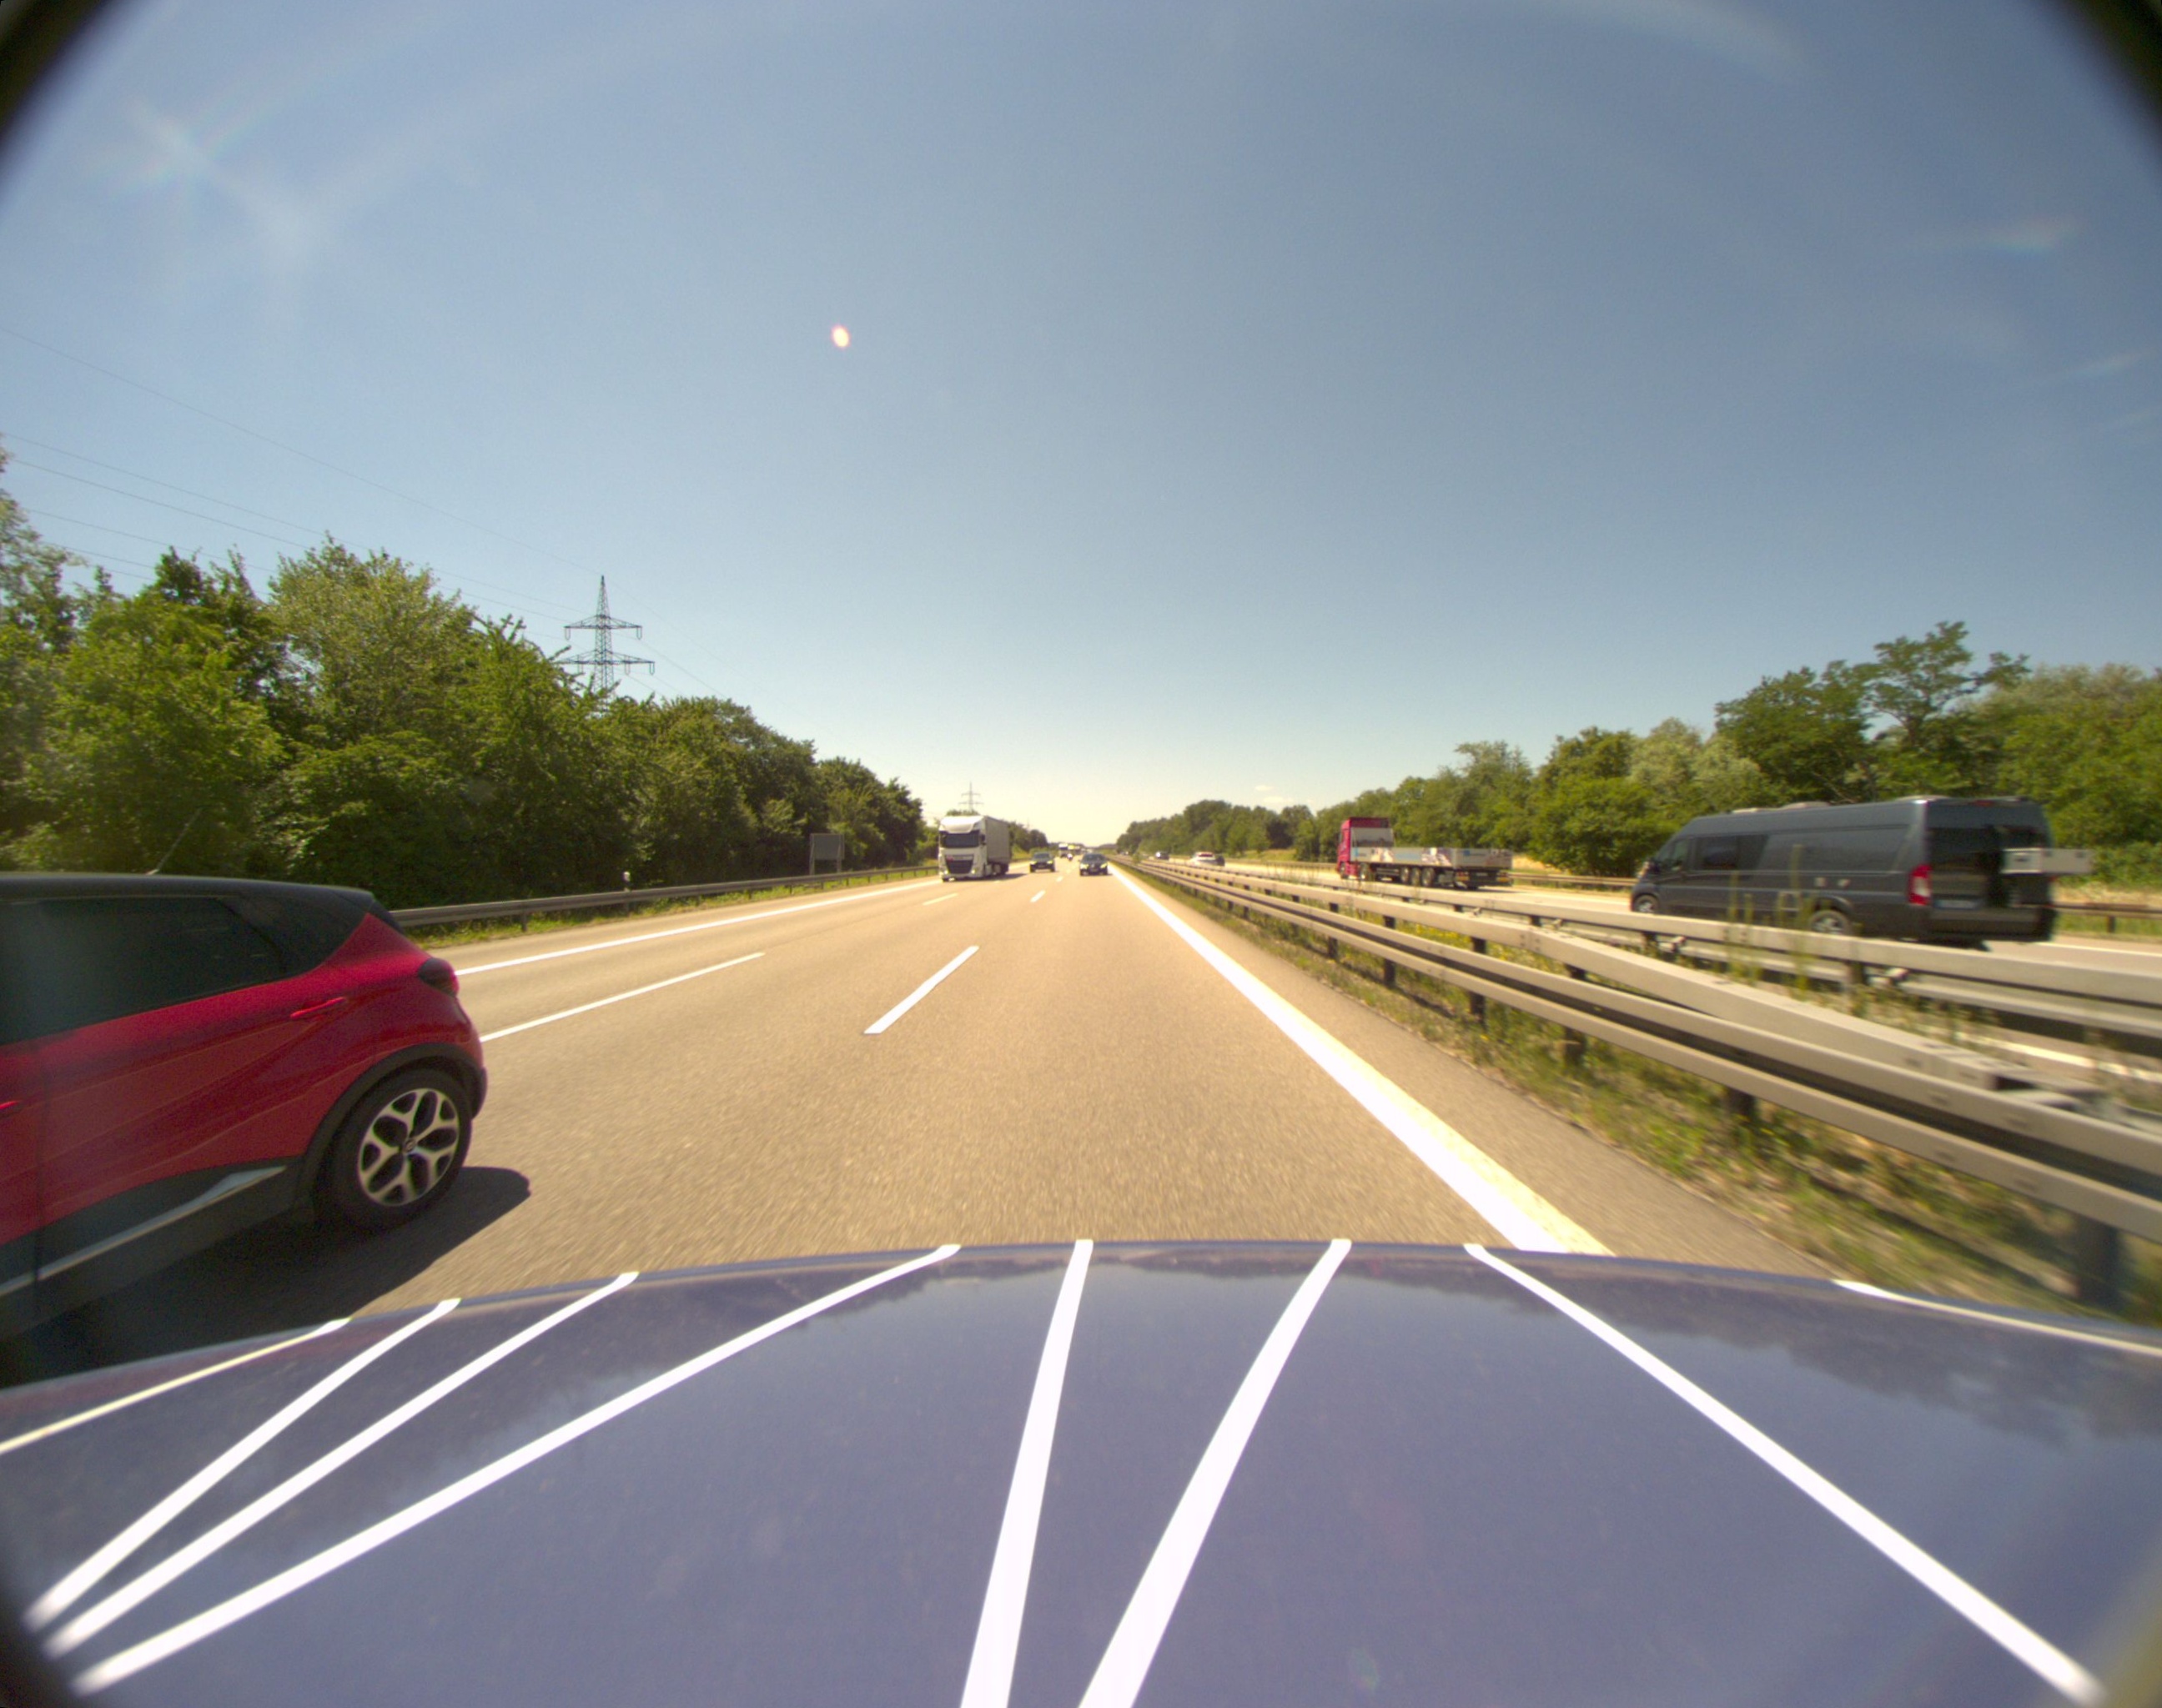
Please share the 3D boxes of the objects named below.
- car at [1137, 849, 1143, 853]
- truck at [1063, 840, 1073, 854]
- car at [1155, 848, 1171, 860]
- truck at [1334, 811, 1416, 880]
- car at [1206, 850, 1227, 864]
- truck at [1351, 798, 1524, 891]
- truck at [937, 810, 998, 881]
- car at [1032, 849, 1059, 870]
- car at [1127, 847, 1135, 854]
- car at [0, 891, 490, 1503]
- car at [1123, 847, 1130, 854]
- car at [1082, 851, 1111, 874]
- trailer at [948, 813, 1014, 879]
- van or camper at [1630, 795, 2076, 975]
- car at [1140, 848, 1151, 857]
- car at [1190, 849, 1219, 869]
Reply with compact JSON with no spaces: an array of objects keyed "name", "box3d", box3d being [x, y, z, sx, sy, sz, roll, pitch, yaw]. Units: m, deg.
[{"name":"car","box3d":[18.239,-0.943,235.007,1.586,1.420,3.477,1,1,1]},{"name":"truck","box3d":[-3.715,-1.877,214.612,2.573,3.871,5.722,-2,1,0]},{"name":"car","box3d":[11.165,-0.048,103.308,1.813,1.638,3.961,1,1,0]},{"name":"truck","box3d":[18.020,-0.520,47.014,2.767,3.991,5.750,1,1,0]},{"name":"car","box3d":[15.367,0.337,86.154,1.737,1.443,3.677,1,1,1]},{"name":"truck","box3d":[17.973,-0.464,39.944,2.767,3.991,13.521,1,0,0]},{"name":"truck","box3d":[-7.018,-0.532,47.846,2.743,4.096,6.124,-2,1,1]},{"name":"car","box3d":[-2.865,0.419,62.228,1.878,1.614,4.004,-2,0,1]},{"name":"car","box3d":[12.308,-0.814,186.983,1.964,1.761,4.442,0,1,1]},{"name":"car","box3d":[-3.809,0.988,1.660,1.808,1.536,4.000,-2,1,1]},{"name":"car","box3d":[12.709,-1.023,212.314,1.771,1.740,3.986,0,1,1]},{"name":"car","box3d":[1.003,0.559,50.300,1.808,1.385,3.999,-2,1,0]},{"name":"trailer","box3d":[-6.911,-0.577,54.786,2.743,4.083,13.121,-2,1,1]},{"name":"van or camper","box3d":[13.387,0.419,14.024,2.176,2.573,5.872,1,1,0]},{"name":"car","box3d":[12.254,-0.288,144.295,1.813,1.527,3.961,1,1,0]},{"name":"car","box3d":[10.180,0.397,62.811,1.808,1.559,4.095,1,1,1]}]
